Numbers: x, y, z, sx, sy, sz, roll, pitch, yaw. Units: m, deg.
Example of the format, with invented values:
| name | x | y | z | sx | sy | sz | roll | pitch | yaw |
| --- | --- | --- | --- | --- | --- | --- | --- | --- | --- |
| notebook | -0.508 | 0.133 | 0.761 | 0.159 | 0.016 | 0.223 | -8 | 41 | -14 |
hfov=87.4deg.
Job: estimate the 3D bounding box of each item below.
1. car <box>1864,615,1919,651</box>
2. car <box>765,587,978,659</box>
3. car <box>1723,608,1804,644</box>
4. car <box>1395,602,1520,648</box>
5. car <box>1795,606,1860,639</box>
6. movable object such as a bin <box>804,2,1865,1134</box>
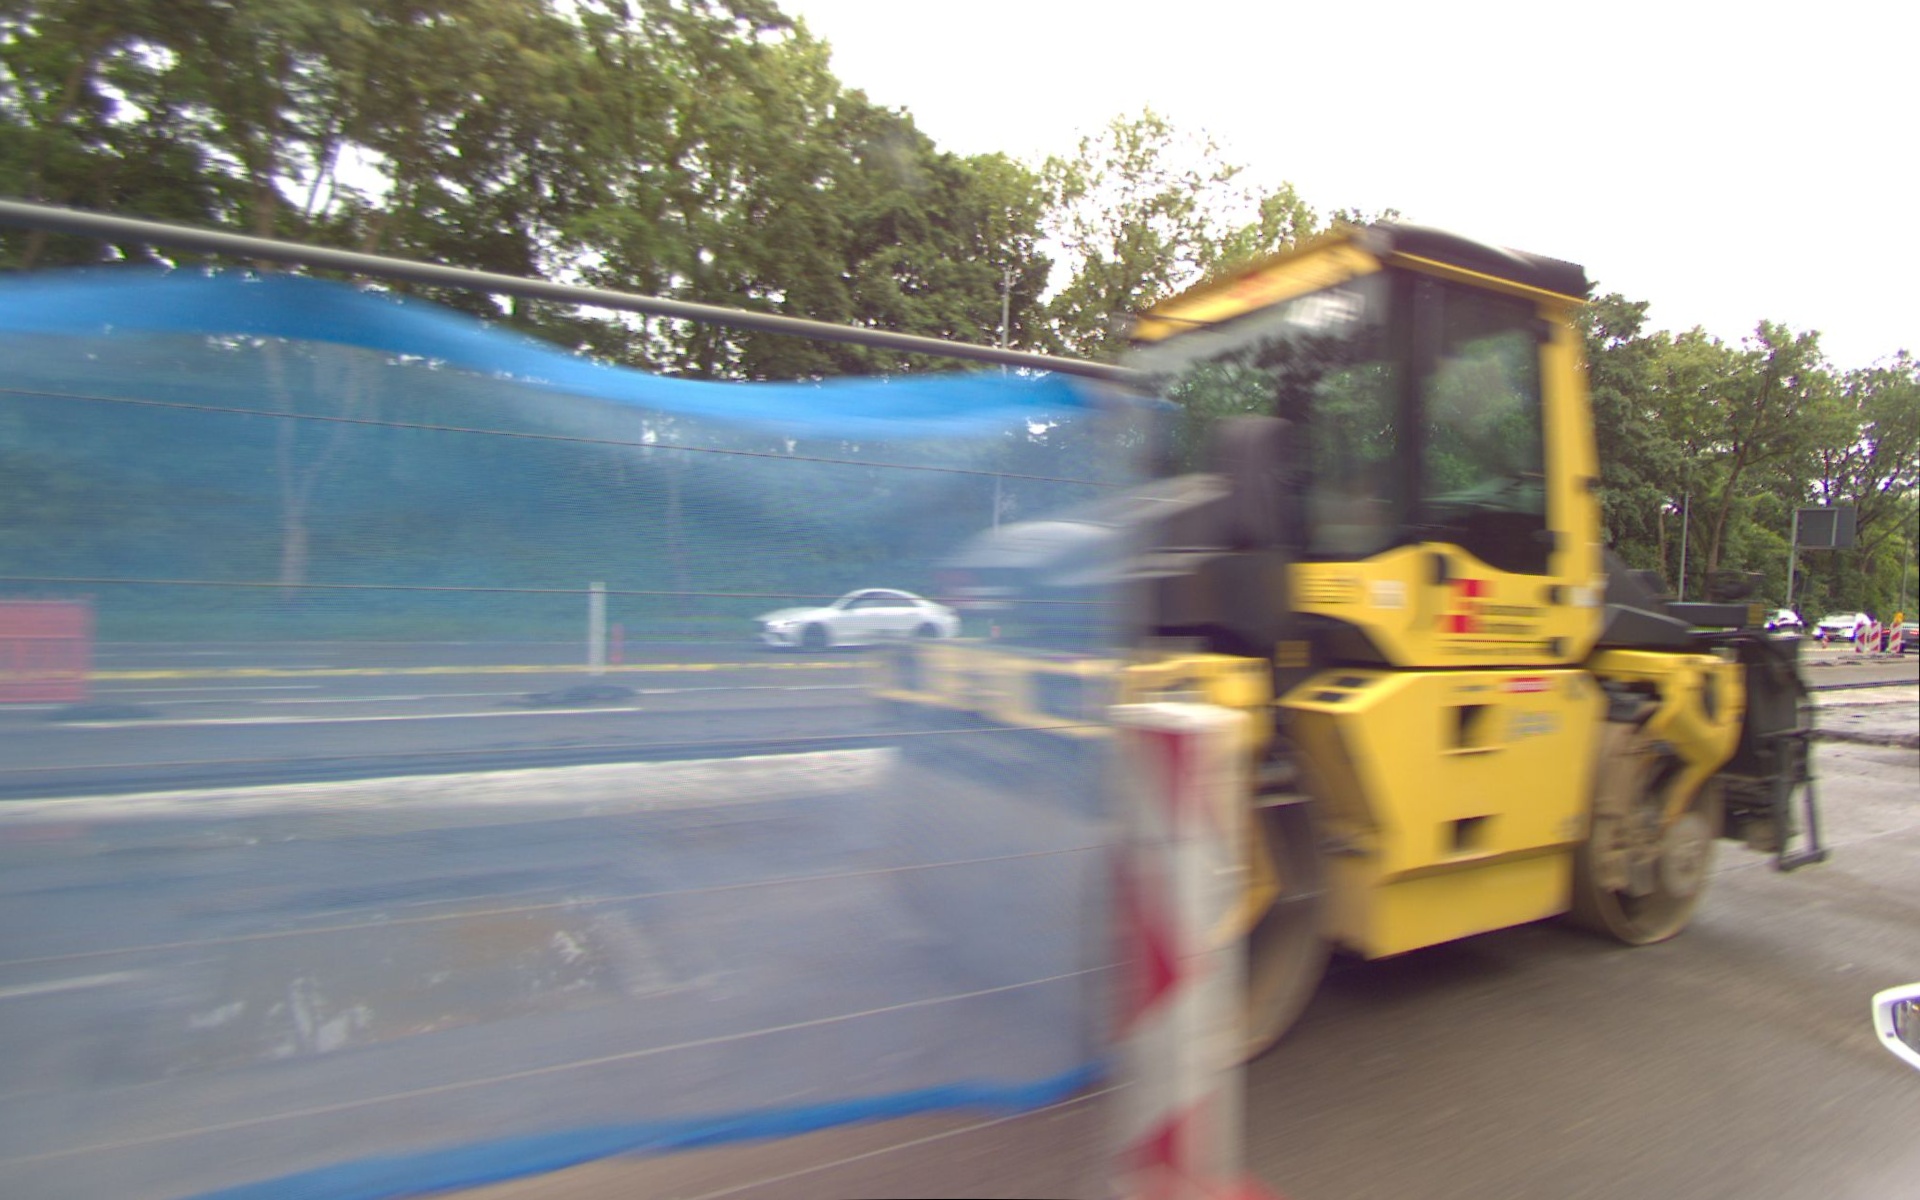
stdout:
| name | x | y | z | sx | sy | sz | roll | pitch | yaw |
| --- | --- | --- | --- | --- | --- | --- | --- | --- | --- |
| car | 41.002 | 1.434 | 43.651 | 4.000 | 1.423 | 1.597 | 1 | 2 | -35 |
| car | -1.950 | 0.514 | 22.533 | 4.418 | 1.445 | 1.775 | 1 | 1 | -31 |
| car | 39.394 | 1.286 | 49.204 | 4.866 | 1.685 | 1.765 | 1 | 0 | -35 |
| car | 17.292 | 0.873 | 34.845 | 4.631 | 1.472 | 1.773 | 1 | 1 | -33 |
| car | 49.542 | 1.285 | 57.349 | 4.336 | 1.774 | 1.765 | 1 | 1 | -35 |
| movable object such as a bin | 2.053 | -0.031 | 4.781 | 5.184 | 3.025 | 1.795 | 2 | 1 | -30 |
